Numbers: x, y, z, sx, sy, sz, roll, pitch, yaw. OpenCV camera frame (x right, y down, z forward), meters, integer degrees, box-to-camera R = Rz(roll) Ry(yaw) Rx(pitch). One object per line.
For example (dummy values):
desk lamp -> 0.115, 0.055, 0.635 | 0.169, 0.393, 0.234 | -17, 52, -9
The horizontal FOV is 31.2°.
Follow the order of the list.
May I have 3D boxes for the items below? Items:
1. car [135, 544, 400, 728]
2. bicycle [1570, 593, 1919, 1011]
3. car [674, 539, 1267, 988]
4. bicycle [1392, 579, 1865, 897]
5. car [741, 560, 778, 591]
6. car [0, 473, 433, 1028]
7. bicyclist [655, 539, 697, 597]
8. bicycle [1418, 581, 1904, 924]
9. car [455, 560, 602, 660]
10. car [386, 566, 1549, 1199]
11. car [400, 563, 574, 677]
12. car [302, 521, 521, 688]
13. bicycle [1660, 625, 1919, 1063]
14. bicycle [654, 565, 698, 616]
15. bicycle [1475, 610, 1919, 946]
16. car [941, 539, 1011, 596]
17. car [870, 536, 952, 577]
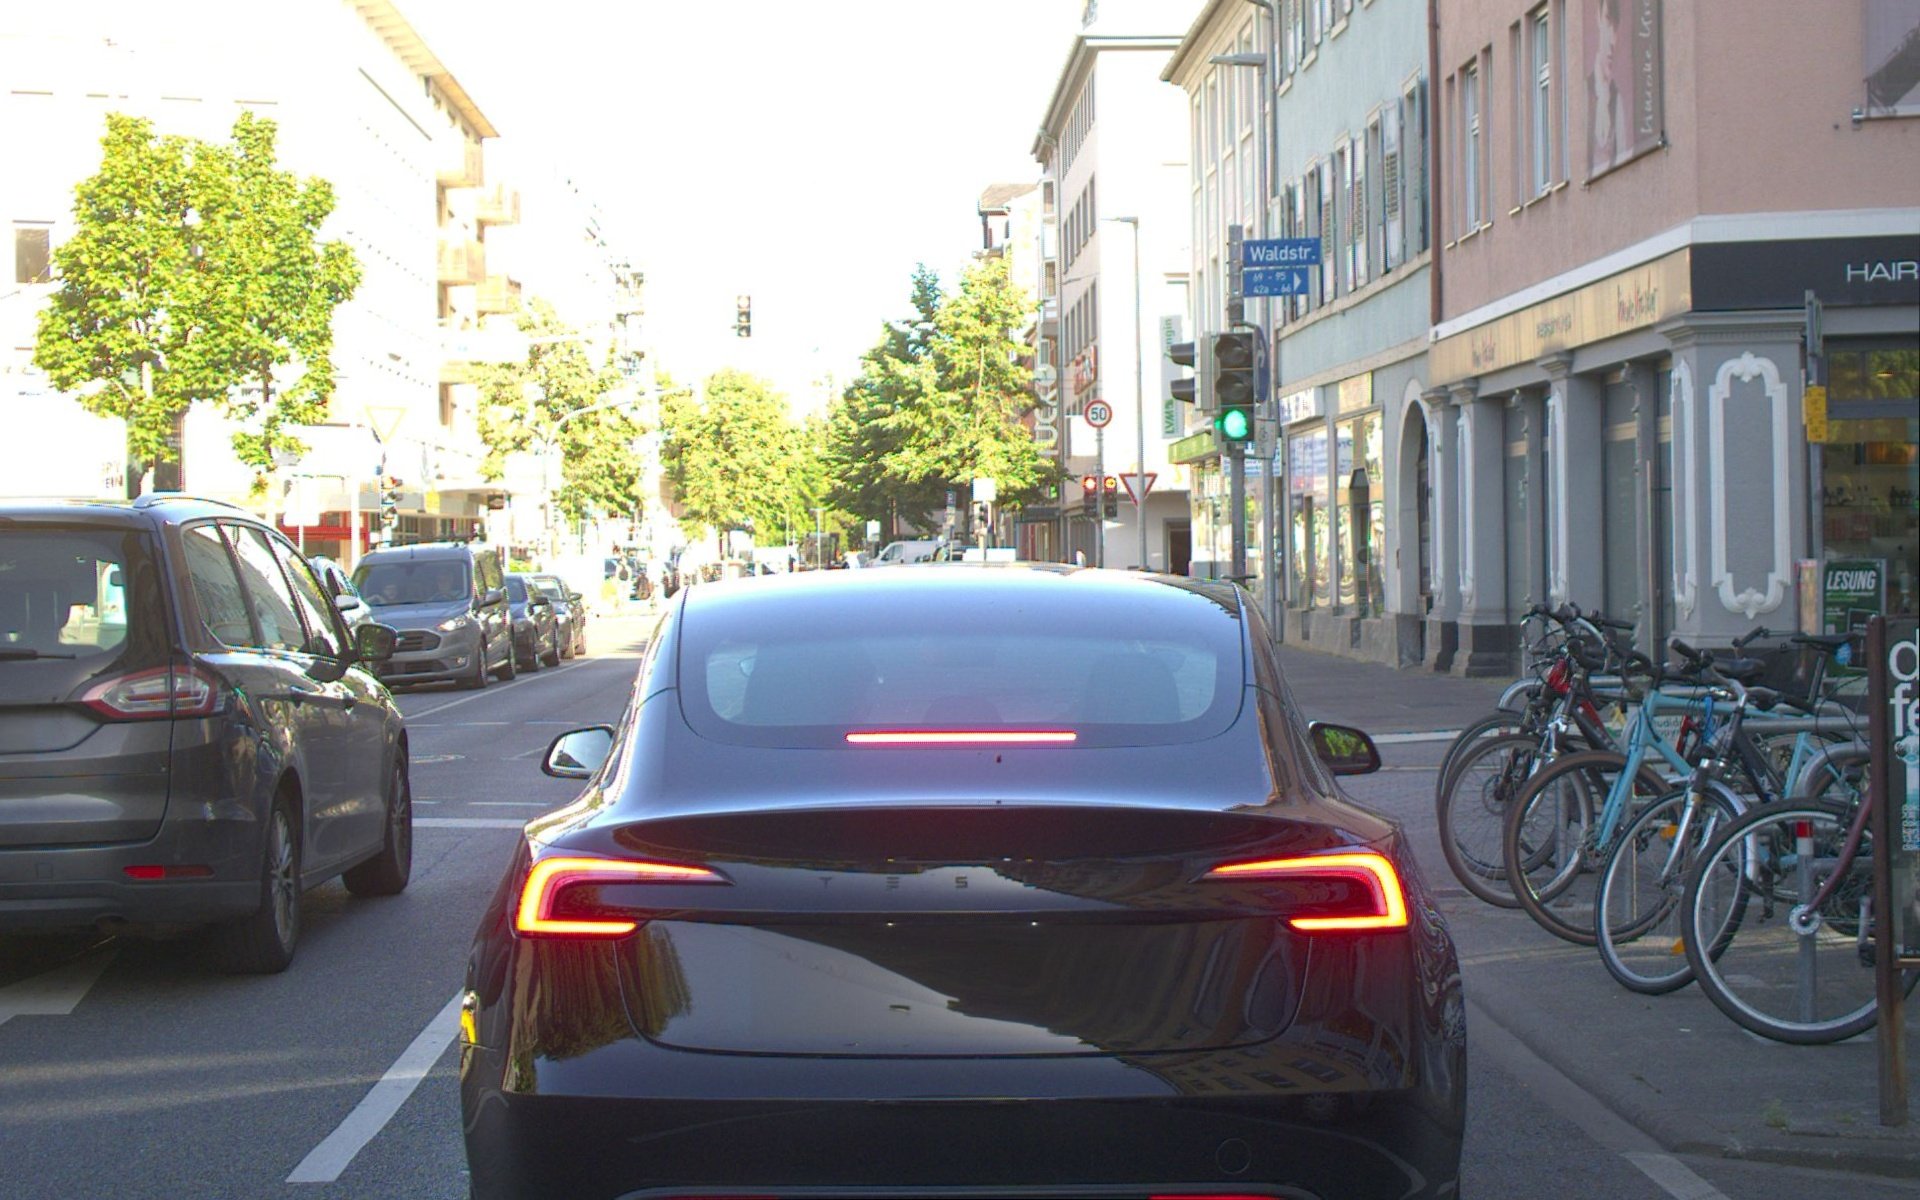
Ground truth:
car -> -6.615, 0.290, 33.279 | 1.807, 1.550, 4.310 | -4, 1, -3
bicycle -> 2.889, 0.623, 11.073 | 1.722, 1.263, 0.790 | -2, 1, 5
car -> -0.031, 0.515, 13.653 | 1.993, 1.507, 4.176 | 0, 1, -2
bicycle -> 2.813, 0.573, 14.634 | 1.862, 1.253, 0.832 | -2, 1, 5
car -> -10.911, -1.341, 187.032 | 1.993, 1.631, 4.001 | 0, 1, -3
car -> -3.350, 0.451, 13.358 | 1.993, 1.766, 4.729 | -1, 1, -2
bicyclist -> -7.896, -0.896, 95.571 | 1.126, 1.623, 0.965 | 0, 1, -3
bicycle -> 2.744, 0.586, 13.604 | 1.746, 1.262, 0.781 | -2, 1, 3
car -> -7.101, 0.131, 56.980 | 1.993, 1.431, 4.675 | -4, 1, -3
car -> -0.008, 0.657, 7.479 | 1.848, 1.450, 4.000 | 0, 1, -1
car -> -6.737, 0.248, 49.389 | 1.993, 1.405, 4.675 | -4, 1, -3
car -> -6.707, 0.005, 42.470 | 1.834, 1.838, 4.674 | -4, 1, 0
bicycle -> 3.035, 0.673, 9.942 | 1.886, 1.189, 0.691 | -2, 1, 5
bicycle -> -7.878, -0.281, 95.487 | 1.111, 1.340, 4.001 | 0, 1, -3
bicycle -> 2.809, 0.626, 12.425 | 1.798, 1.120, 0.781 | -2, 1, 5
car -> 0.447, -0.967, 100.753 | 1.993, 1.623, 4.000 | 0, 1, 0
car -> -2.392, -2.124, 167.509 | 3.986, 2.007, 2.000 | 0, 1, -2
